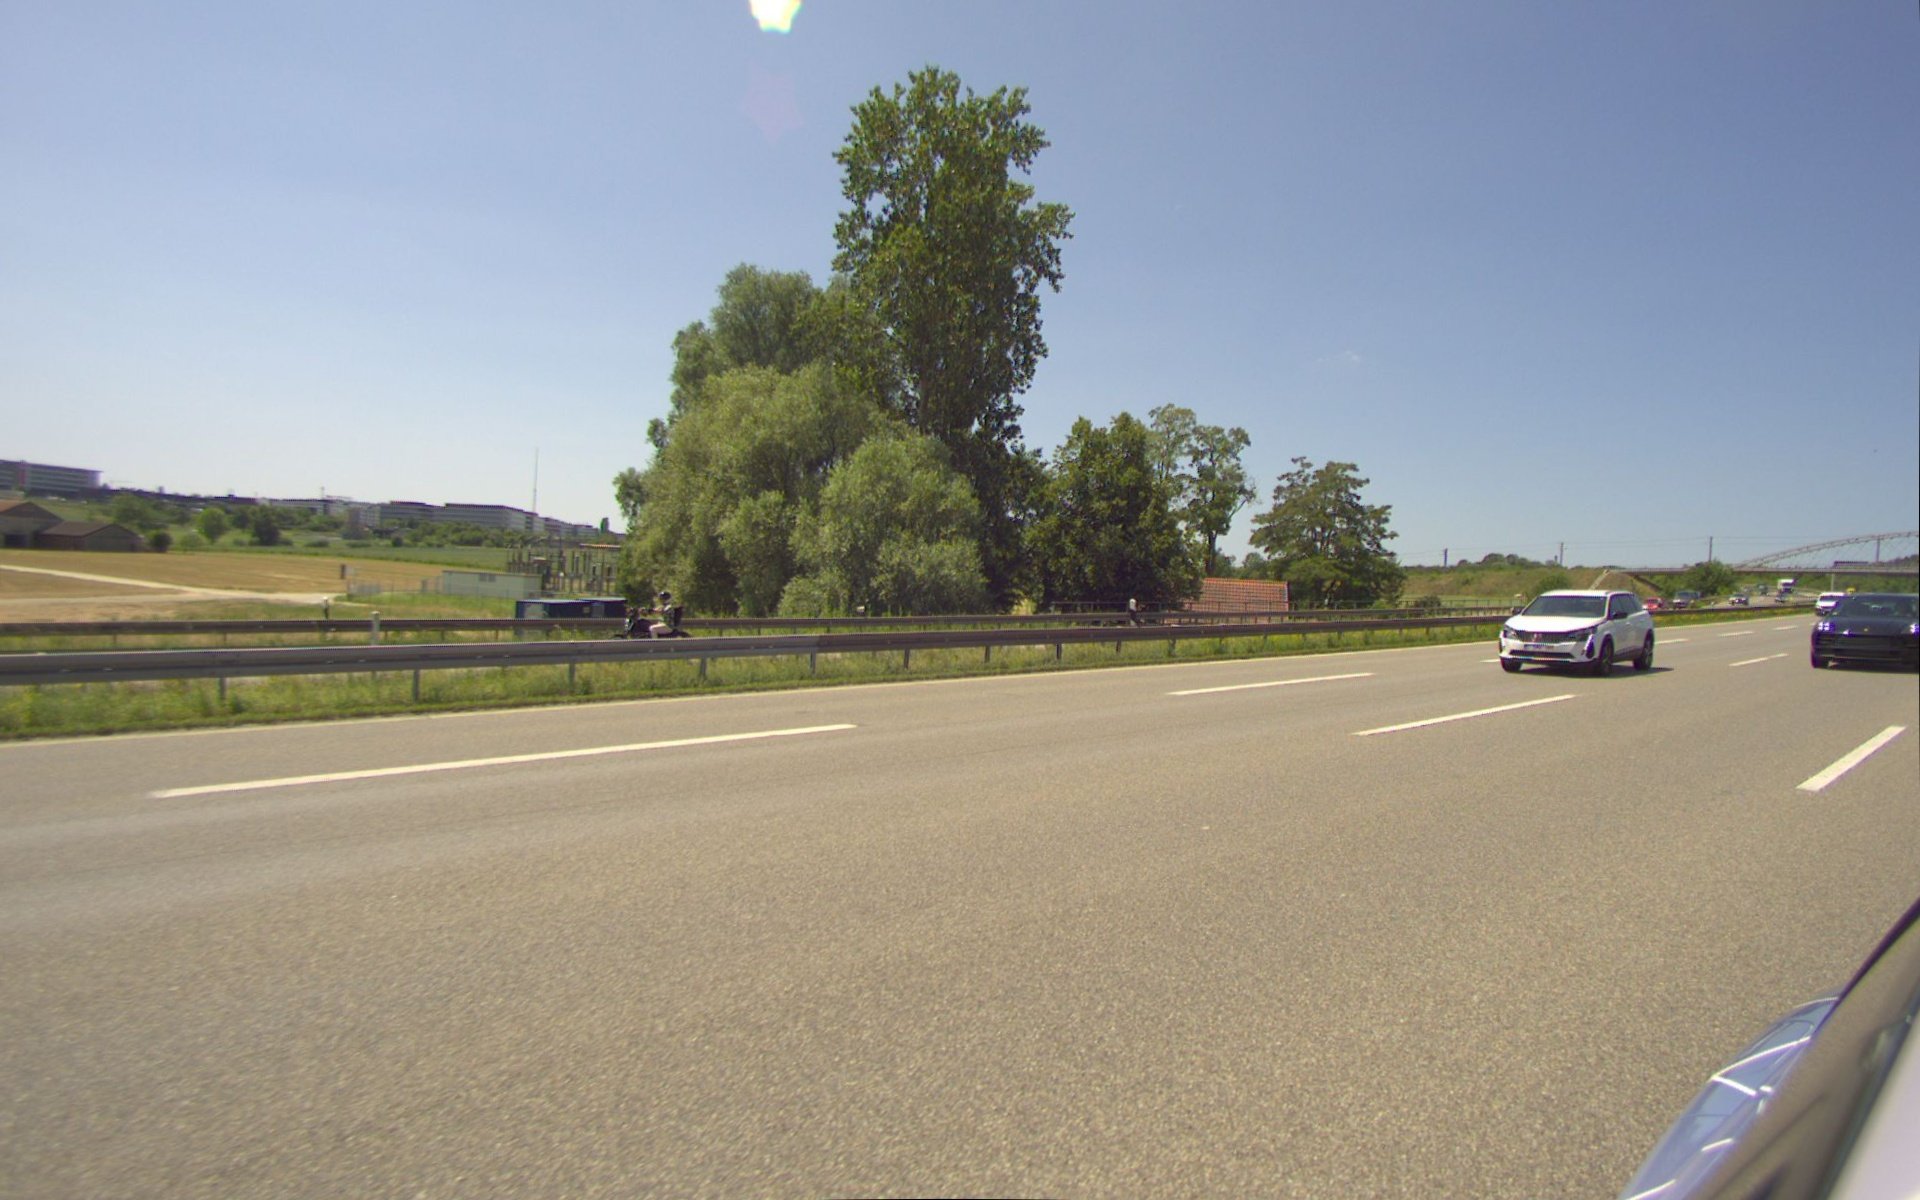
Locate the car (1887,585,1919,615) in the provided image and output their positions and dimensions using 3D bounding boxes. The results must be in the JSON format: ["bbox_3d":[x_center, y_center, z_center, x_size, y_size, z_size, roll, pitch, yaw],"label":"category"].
[{"bbox_3d":[61.943,-0.032,66.188,1.804,1.943,4.226,1,1,45],"label":"car"}]

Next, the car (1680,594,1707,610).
[{"bbox_3d":[76.918,0.227,106.088,1.700,1.594,4.062,1,1,44],"label":"car"}]

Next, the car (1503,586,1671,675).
[{"bbox_3d":[12.777,0.525,20.495,4.542,1.611,1.746,-1,1,-43],"label":"car"}]

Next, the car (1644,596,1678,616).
[{"bbox_3d":[59.244,0.517,85.543,1.700,1.594,4.062,1,1,44],"label":"car"}]

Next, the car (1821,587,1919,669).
[{"bbox_3d":[20.218,0.528,21.890,4.061,1.615,1.929,-1,1,-42],"label":"car"}]

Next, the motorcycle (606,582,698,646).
[{"bbox_3d":[-6.894,0.295,22.674,1.837,1.383,0.761,0,1,-41],"label":"motorcycle"}]

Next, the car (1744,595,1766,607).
[{"bbox_3d":[106.782,0.107,135.874,4.059,1.594,1.701,-1,1,-43],"label":"car"}]

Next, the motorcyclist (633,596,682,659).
[{"bbox_3d":[-6.799,0.602,22.735,0.863,1.383,0.669,0,1,-41],"label":"motorcyclist"}]
